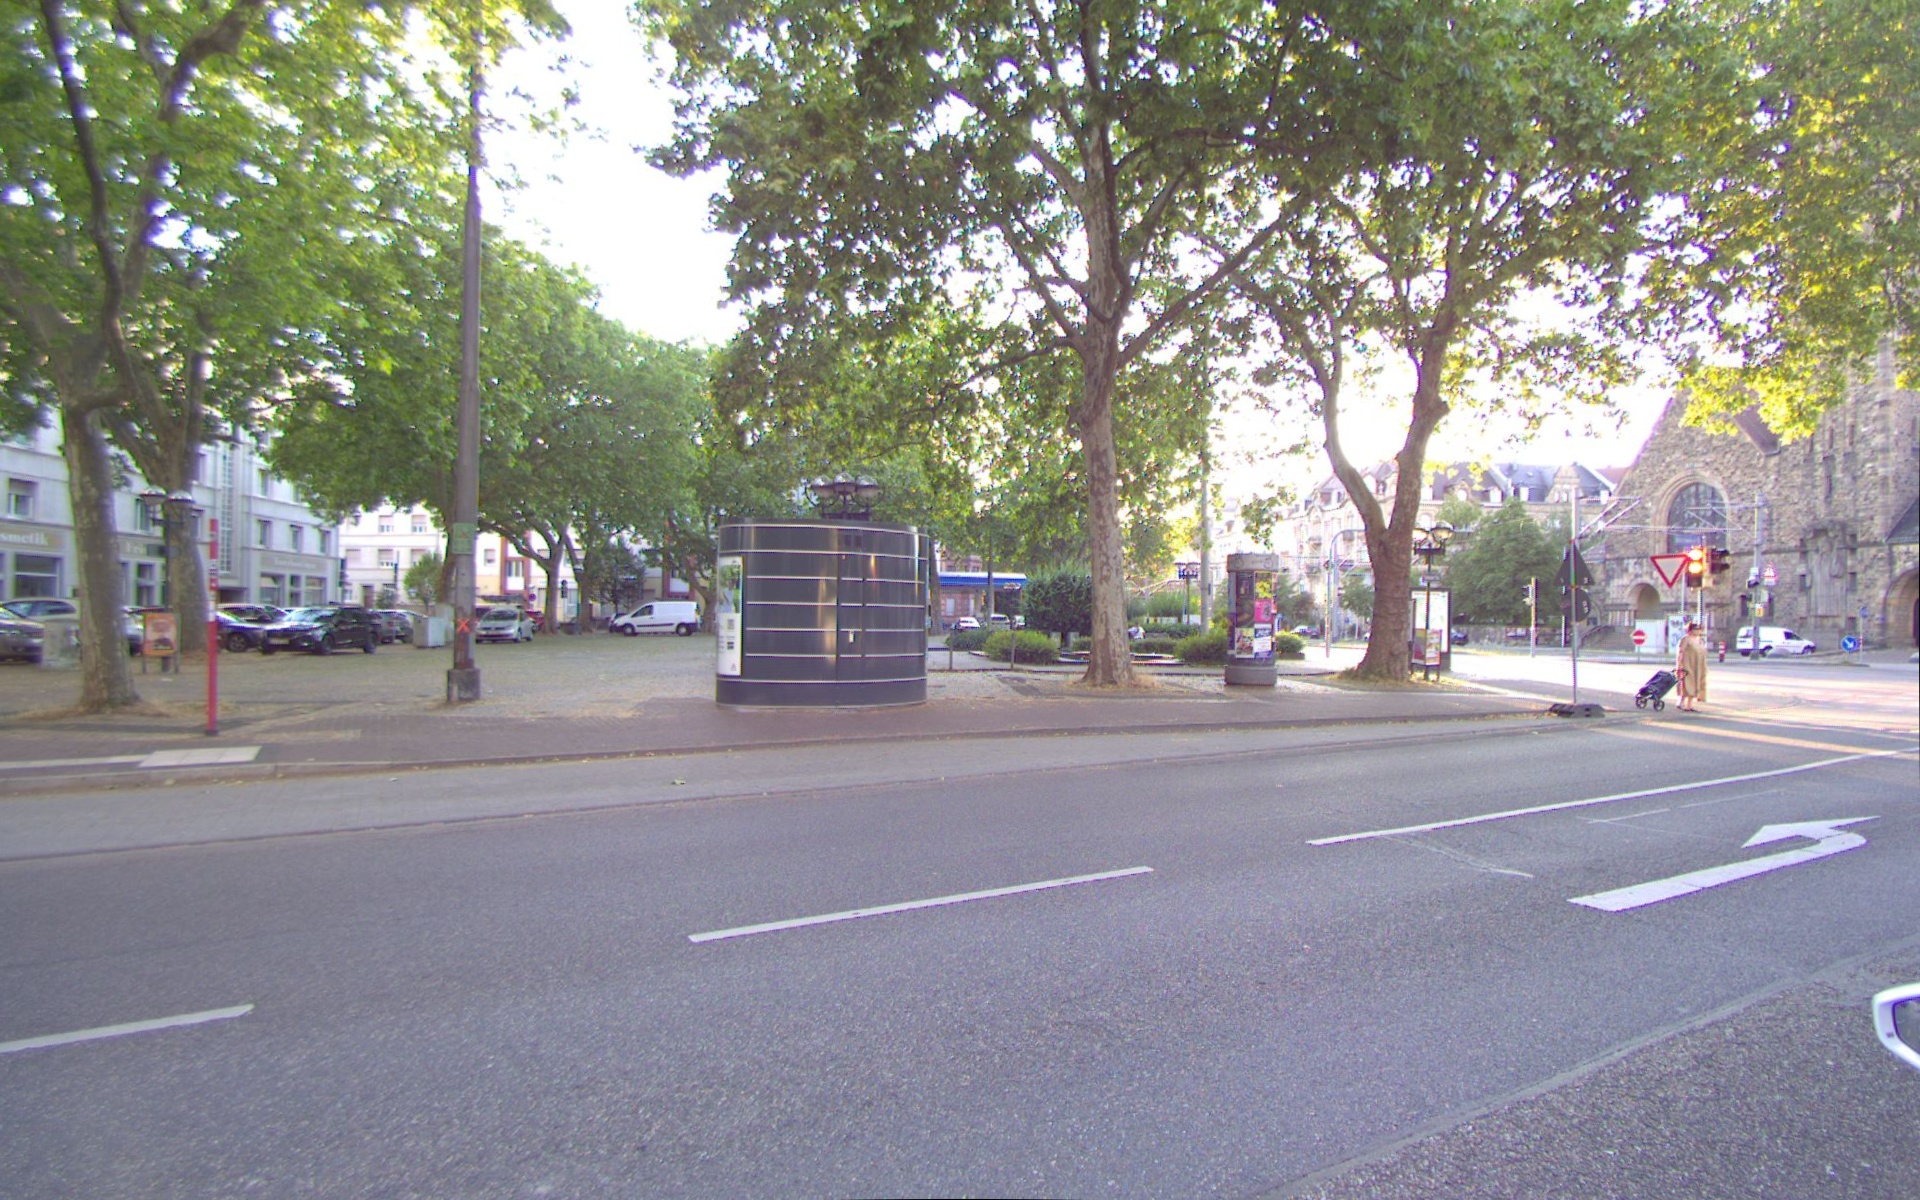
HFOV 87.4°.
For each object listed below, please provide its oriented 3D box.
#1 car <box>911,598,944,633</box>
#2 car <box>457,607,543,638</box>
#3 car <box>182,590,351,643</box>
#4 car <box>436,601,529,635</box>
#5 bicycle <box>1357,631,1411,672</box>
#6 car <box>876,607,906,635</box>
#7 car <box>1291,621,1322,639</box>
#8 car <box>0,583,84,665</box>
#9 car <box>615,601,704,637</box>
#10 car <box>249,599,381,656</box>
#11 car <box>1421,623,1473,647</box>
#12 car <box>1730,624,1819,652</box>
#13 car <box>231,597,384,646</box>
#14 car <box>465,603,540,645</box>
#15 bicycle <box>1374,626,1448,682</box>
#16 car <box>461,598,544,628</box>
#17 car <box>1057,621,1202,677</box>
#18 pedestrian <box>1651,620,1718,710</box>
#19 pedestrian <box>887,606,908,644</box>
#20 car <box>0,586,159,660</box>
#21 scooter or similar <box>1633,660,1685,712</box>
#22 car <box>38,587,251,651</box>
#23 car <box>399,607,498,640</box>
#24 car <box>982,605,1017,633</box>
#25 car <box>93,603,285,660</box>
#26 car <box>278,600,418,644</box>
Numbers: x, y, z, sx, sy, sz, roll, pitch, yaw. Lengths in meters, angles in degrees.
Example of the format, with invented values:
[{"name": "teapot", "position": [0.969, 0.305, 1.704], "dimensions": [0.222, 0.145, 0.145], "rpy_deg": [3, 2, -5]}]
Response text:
[{"name": "car", "position": [-2.363, 1.105, 72.562], "dimensions": [1.963, 2.374, 3.995], "rpy_deg": [2, 0, -7]}, {"name": "car", "position": [-27.371, 1.346, 59.934], "dimensions": [4.572, 1.758, 1.990], "rpy_deg": [0, -2, -22]}, {"name": "car", "position": [-25.094, 0.614, 36.518], "dimensions": [4.557, 1.805, 2.090], "rpy_deg": [-1, -2, -10]}, {"name": "car", "position": [-27.209, 1.022, 57.412], "dimensions": [4.578, 1.834, 1.992], "rpy_deg": [0, -2, -20]}, {"name": "bicycle", "position": [11.950, 1.439, 28.263], "dimensions": [1.780, 1.107, 0.455], "rpy_deg": [2, 0, -33]}, {"name": "car", "position": [-5.006, 1.462, 72.316], "dimensions": [1.882, 1.873, 3.995], "rpy_deg": [2, 0, -7]}, {"name": "car", "position": [34.991, 2.994, 101.546], "dimensions": [1.960, 1.706, 4.002], "rpy_deg": [2, 0, 4]}, {"name": "car", "position": [-23.113, 0.583, 22.726], "dimensions": [4.557, 1.805, 1.997], "rpy_deg": [-1, -2, -10]}, {"name": "car", "position": [-16.844, 1.085, 56.446], "dimensions": [4.557, 1.964, 1.997], "rpy_deg": [-1, -2, -10]}, {"name": "car", "position": [-19.211, 0.811, 30.105], "dimensions": [1.642, 1.549, 3.760], "rpy_deg": [2, -2, -4]}, {"name": "car", "position": [38.314, 2.778, 79.064], "dimensions": [1.962, 1.639, 3.999], "rpy_deg": [2, -3, -4]}, {"name": "car", "position": [50.978, 2.389, 62.910], "dimensions": [4.372, 1.537, 1.718], "rpy_deg": [2, 0, -6]}, {"name": "car", "position": [-25.285, 0.849, 39.105], "dimensions": [4.557, 1.805, 1.997], "rpy_deg": [-1, -2, -10]}, {"name": "car", "position": [-19.780, 0.997, 43.586], "dimensions": [1.642, 1.684, 3.760], "rpy_deg": [2, 0, -4]}, {"name": "bicycle", "position": [11.335, 1.356, 25.235], "dimensions": [1.967, 1.344, 0.523], "rpy_deg": [2, 0, -26]}, {"name": "car", "position": [-28.287, 0.813, 62.266], "dimensions": [4.572, 1.758, 1.990], "rpy_deg": [0, -2, -22]}, {"name": "car", "position": [5.797, 1.675, 34.663], "dimensions": [4.552, 1.805, 1.999], "rpy_deg": [-1, -2, -5]}, {"name": "pedestrian", "position": [13.851, 1.229, 19.210], "dimensions": [0.766, 1.649, 0.796], "rpy_deg": [2, 0, -35]}, {"name": "pedestrian", "position": [-2.821, 1.122, 45.220], "dimensions": [0.869, 1.694, 0.740], "rpy_deg": [2, 0, -8]}, {"name": "car", "position": [-23.671, 0.595, 25.697], "dimensions": [4.557, 1.805, 1.997], "rpy_deg": [-1, -2, -10]}, {"name": "scooter or similar", "position": [13.040, 1.592, 18.744], "dimensions": [0.845, 0.910, 0.586], "rpy_deg": [2, 0, -41]}, {"name": "car", "position": [-24.442, 0.574, 30.295], "dimensions": [4.557, 1.805, 1.997], "rpy_deg": [-1, -2, -10]}, {"name": "car", "position": [-27.707, 1.273, 54.568], "dimensions": [4.572, 1.758, 1.990], "rpy_deg": [0, -2, -22]}, {"name": "car", "position": [2.861, 1.355, 73.318], "dimensions": [1.882, 1.873, 3.995], "rpy_deg": [2, 0, -7]}, {"name": "car", "position": [-25.103, 1.028, 32.875], "dimensions": [4.557, 1.758, 1.997], "rpy_deg": [-1, -2, -10]}, {"name": "car", "position": [-25.601, 0.925, 42.186], "dimensions": [4.557, 1.758, 1.997], "rpy_deg": [-1, -2, -10]}]
